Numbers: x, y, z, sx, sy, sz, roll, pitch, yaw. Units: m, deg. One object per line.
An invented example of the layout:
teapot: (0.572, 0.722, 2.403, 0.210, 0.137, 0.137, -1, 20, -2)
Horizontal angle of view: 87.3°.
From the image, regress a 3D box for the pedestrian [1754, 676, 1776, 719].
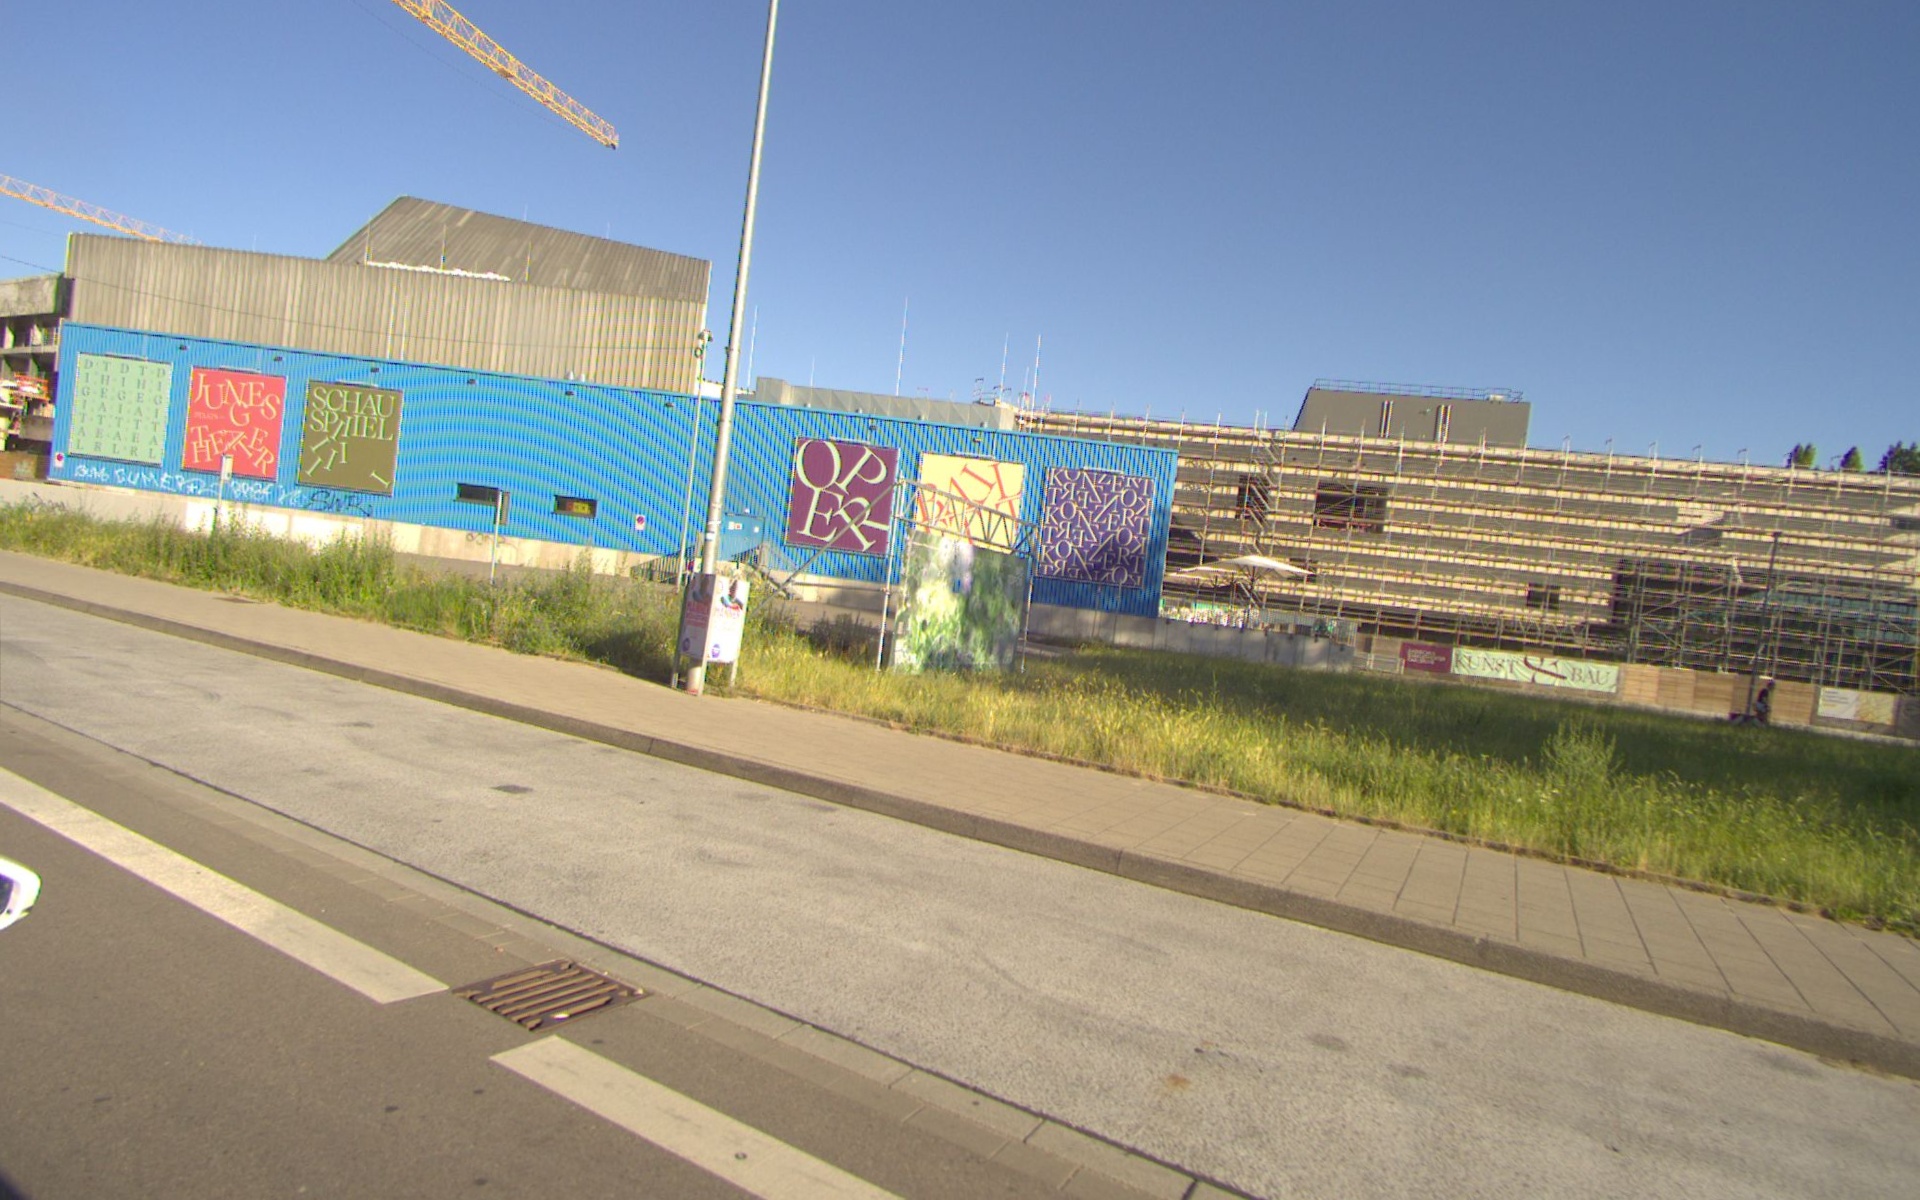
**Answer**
pedestrian: (25.710, 3.115, 32.126, 0.434, 1.310, 0.572, 5, -2, 37)
